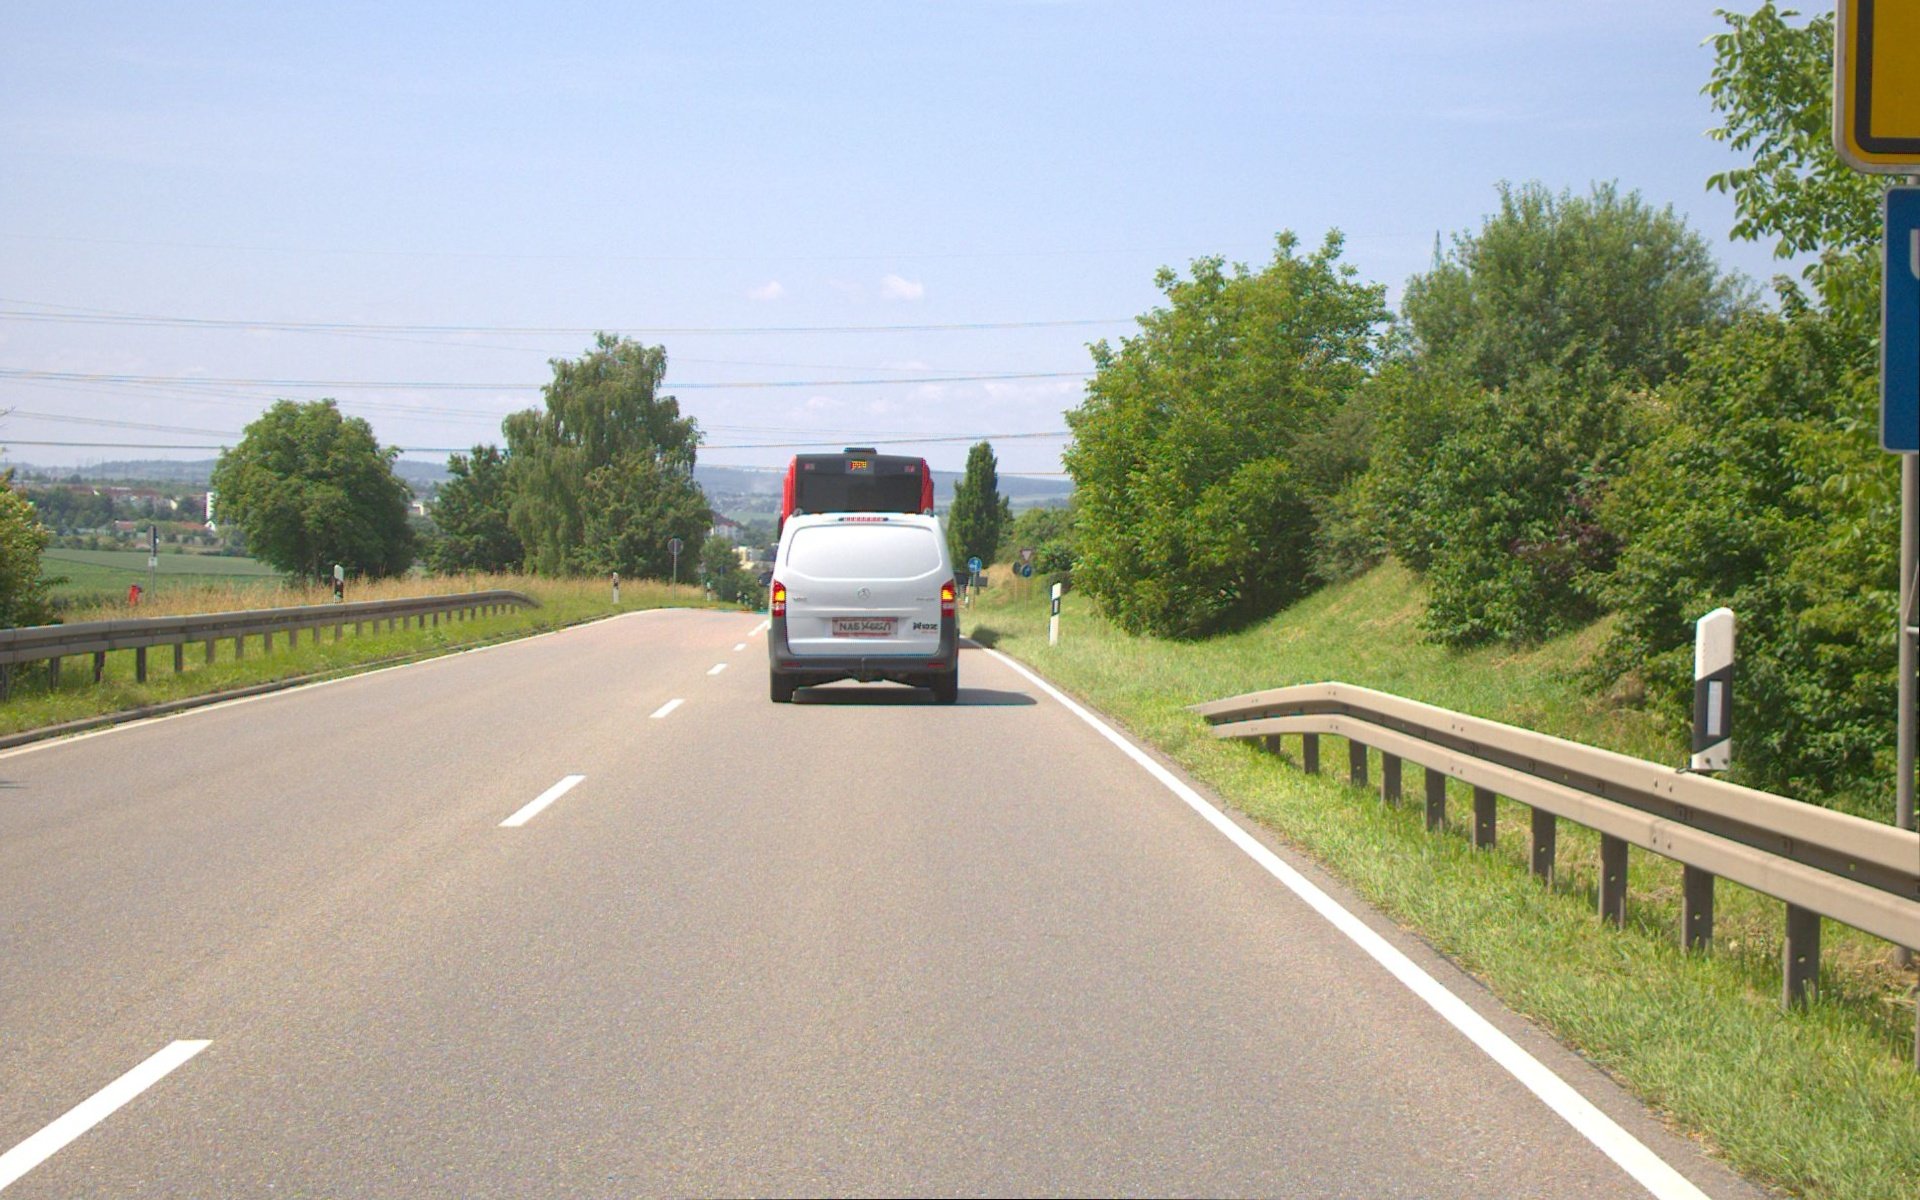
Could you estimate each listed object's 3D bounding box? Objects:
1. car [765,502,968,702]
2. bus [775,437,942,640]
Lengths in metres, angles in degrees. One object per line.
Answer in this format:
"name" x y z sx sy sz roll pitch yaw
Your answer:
"car" -0.906 -0.035 35.211 1.923 1.883 4.000 1 2 0
"bus" -1.863 -1.196 63.144 2.747 3.342 13.223 0 2 -2
